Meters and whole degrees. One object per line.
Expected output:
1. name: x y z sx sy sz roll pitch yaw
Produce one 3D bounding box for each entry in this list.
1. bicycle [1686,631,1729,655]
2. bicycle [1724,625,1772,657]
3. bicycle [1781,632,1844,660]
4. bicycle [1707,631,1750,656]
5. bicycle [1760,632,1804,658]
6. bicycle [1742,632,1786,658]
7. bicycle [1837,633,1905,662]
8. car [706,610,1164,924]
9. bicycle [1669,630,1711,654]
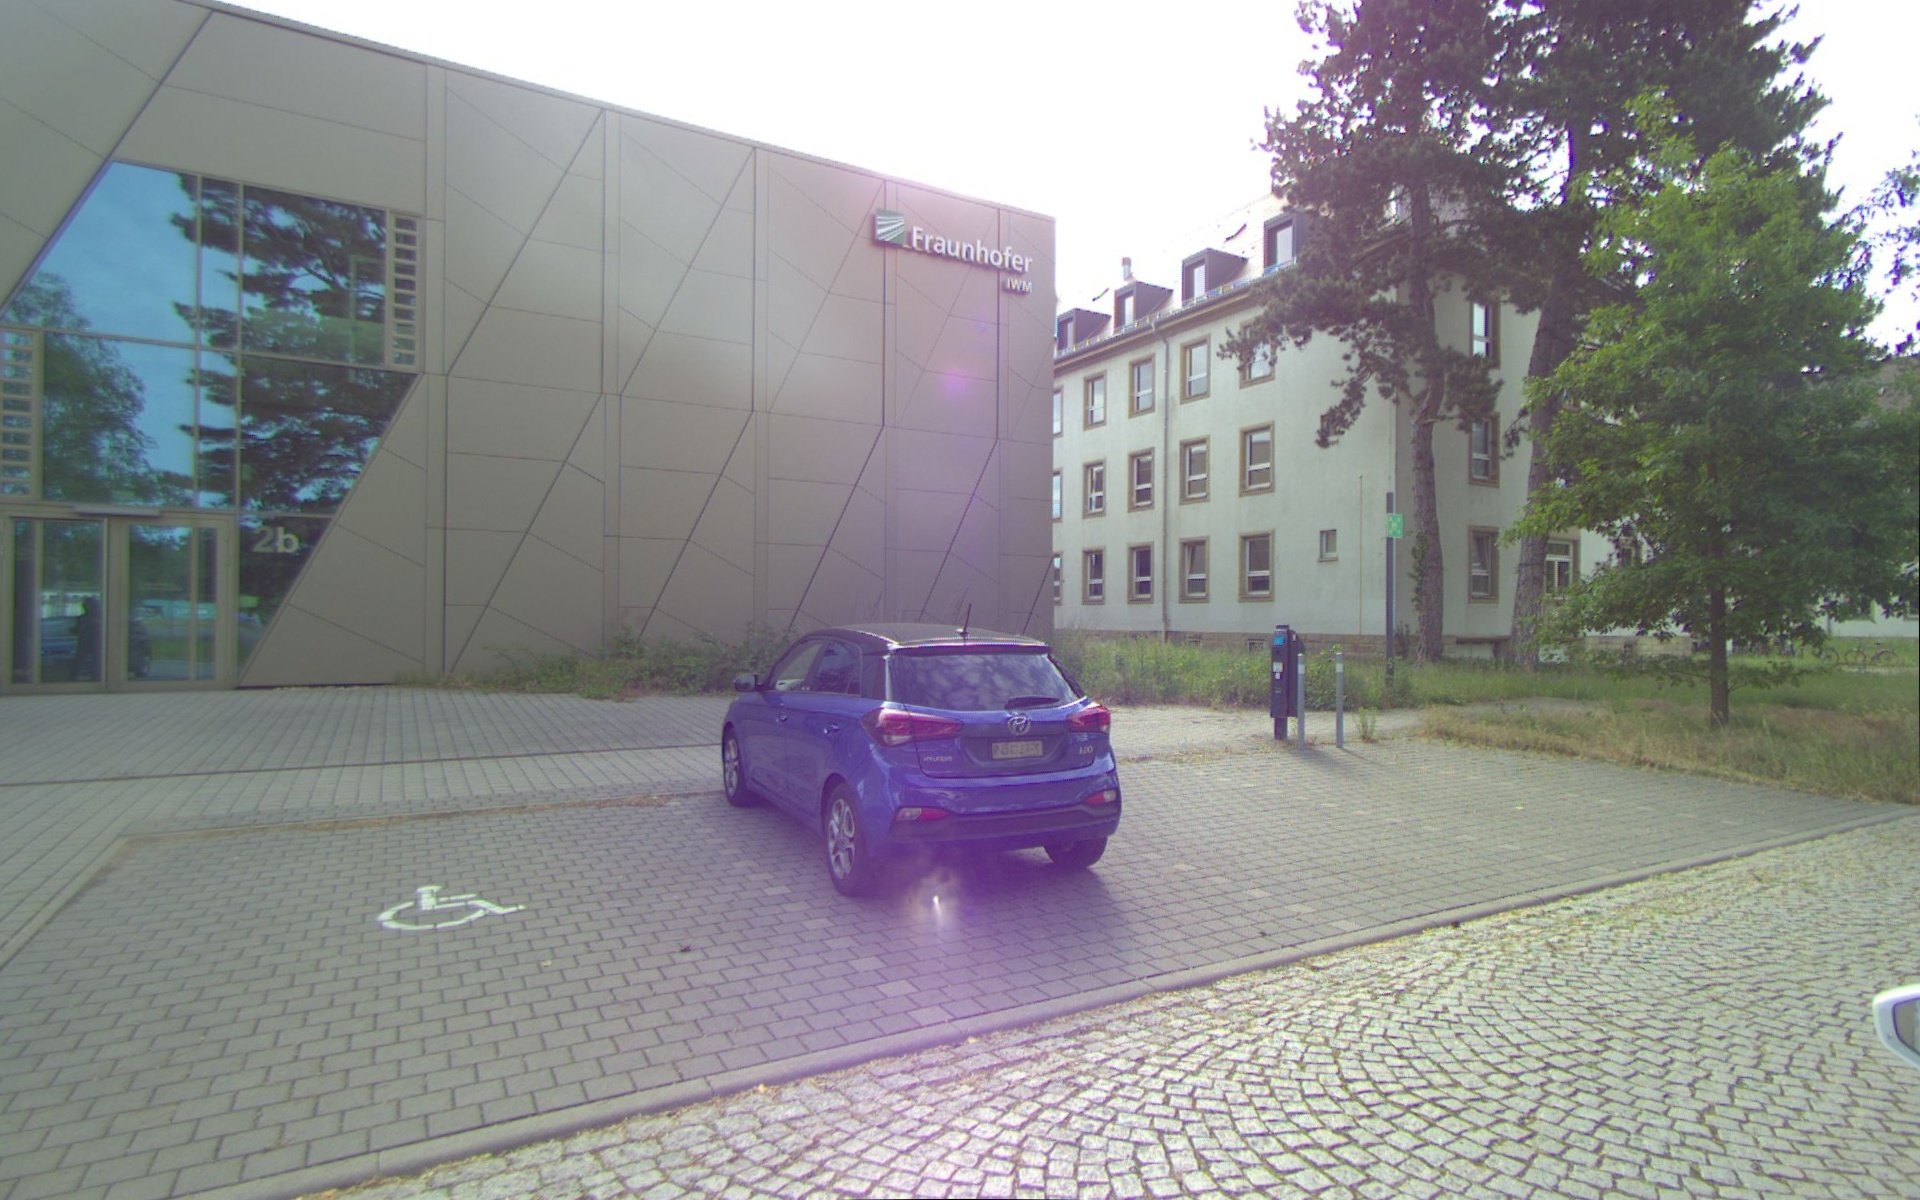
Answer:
1. bicycle: 34.206 1.952 45.969 2.246 1.090 0.732 1 -1 -30
2. bicycle: 35.231 1.833 44.899 2.679 1.404 0.732 1 -1 -30
3. bicycle: 35.314 1.901 41.624 0.729 1.090 1.849 1 -1 -27
4. bicycle: 34.938 1.978 45.652 2.246 1.090 0.732 1 -1 -30
5. bicycle: 35.663 1.953 43.550 2.246 1.090 0.732 1 -1 -30
6. bicycle: 35.286 1.966 44.070 2.246 1.090 0.732 1 -1 -30
7. bicycle: 36.256 1.887 39.996 0.821 1.090 1.849 1 -1 -27
8. car: -0.464 0.867 7.125 1.828 1.498 3.752 1 0 -27
9. bicycle: 33.915 1.960 46.645 2.246 1.090 0.732 1 -1 -30
